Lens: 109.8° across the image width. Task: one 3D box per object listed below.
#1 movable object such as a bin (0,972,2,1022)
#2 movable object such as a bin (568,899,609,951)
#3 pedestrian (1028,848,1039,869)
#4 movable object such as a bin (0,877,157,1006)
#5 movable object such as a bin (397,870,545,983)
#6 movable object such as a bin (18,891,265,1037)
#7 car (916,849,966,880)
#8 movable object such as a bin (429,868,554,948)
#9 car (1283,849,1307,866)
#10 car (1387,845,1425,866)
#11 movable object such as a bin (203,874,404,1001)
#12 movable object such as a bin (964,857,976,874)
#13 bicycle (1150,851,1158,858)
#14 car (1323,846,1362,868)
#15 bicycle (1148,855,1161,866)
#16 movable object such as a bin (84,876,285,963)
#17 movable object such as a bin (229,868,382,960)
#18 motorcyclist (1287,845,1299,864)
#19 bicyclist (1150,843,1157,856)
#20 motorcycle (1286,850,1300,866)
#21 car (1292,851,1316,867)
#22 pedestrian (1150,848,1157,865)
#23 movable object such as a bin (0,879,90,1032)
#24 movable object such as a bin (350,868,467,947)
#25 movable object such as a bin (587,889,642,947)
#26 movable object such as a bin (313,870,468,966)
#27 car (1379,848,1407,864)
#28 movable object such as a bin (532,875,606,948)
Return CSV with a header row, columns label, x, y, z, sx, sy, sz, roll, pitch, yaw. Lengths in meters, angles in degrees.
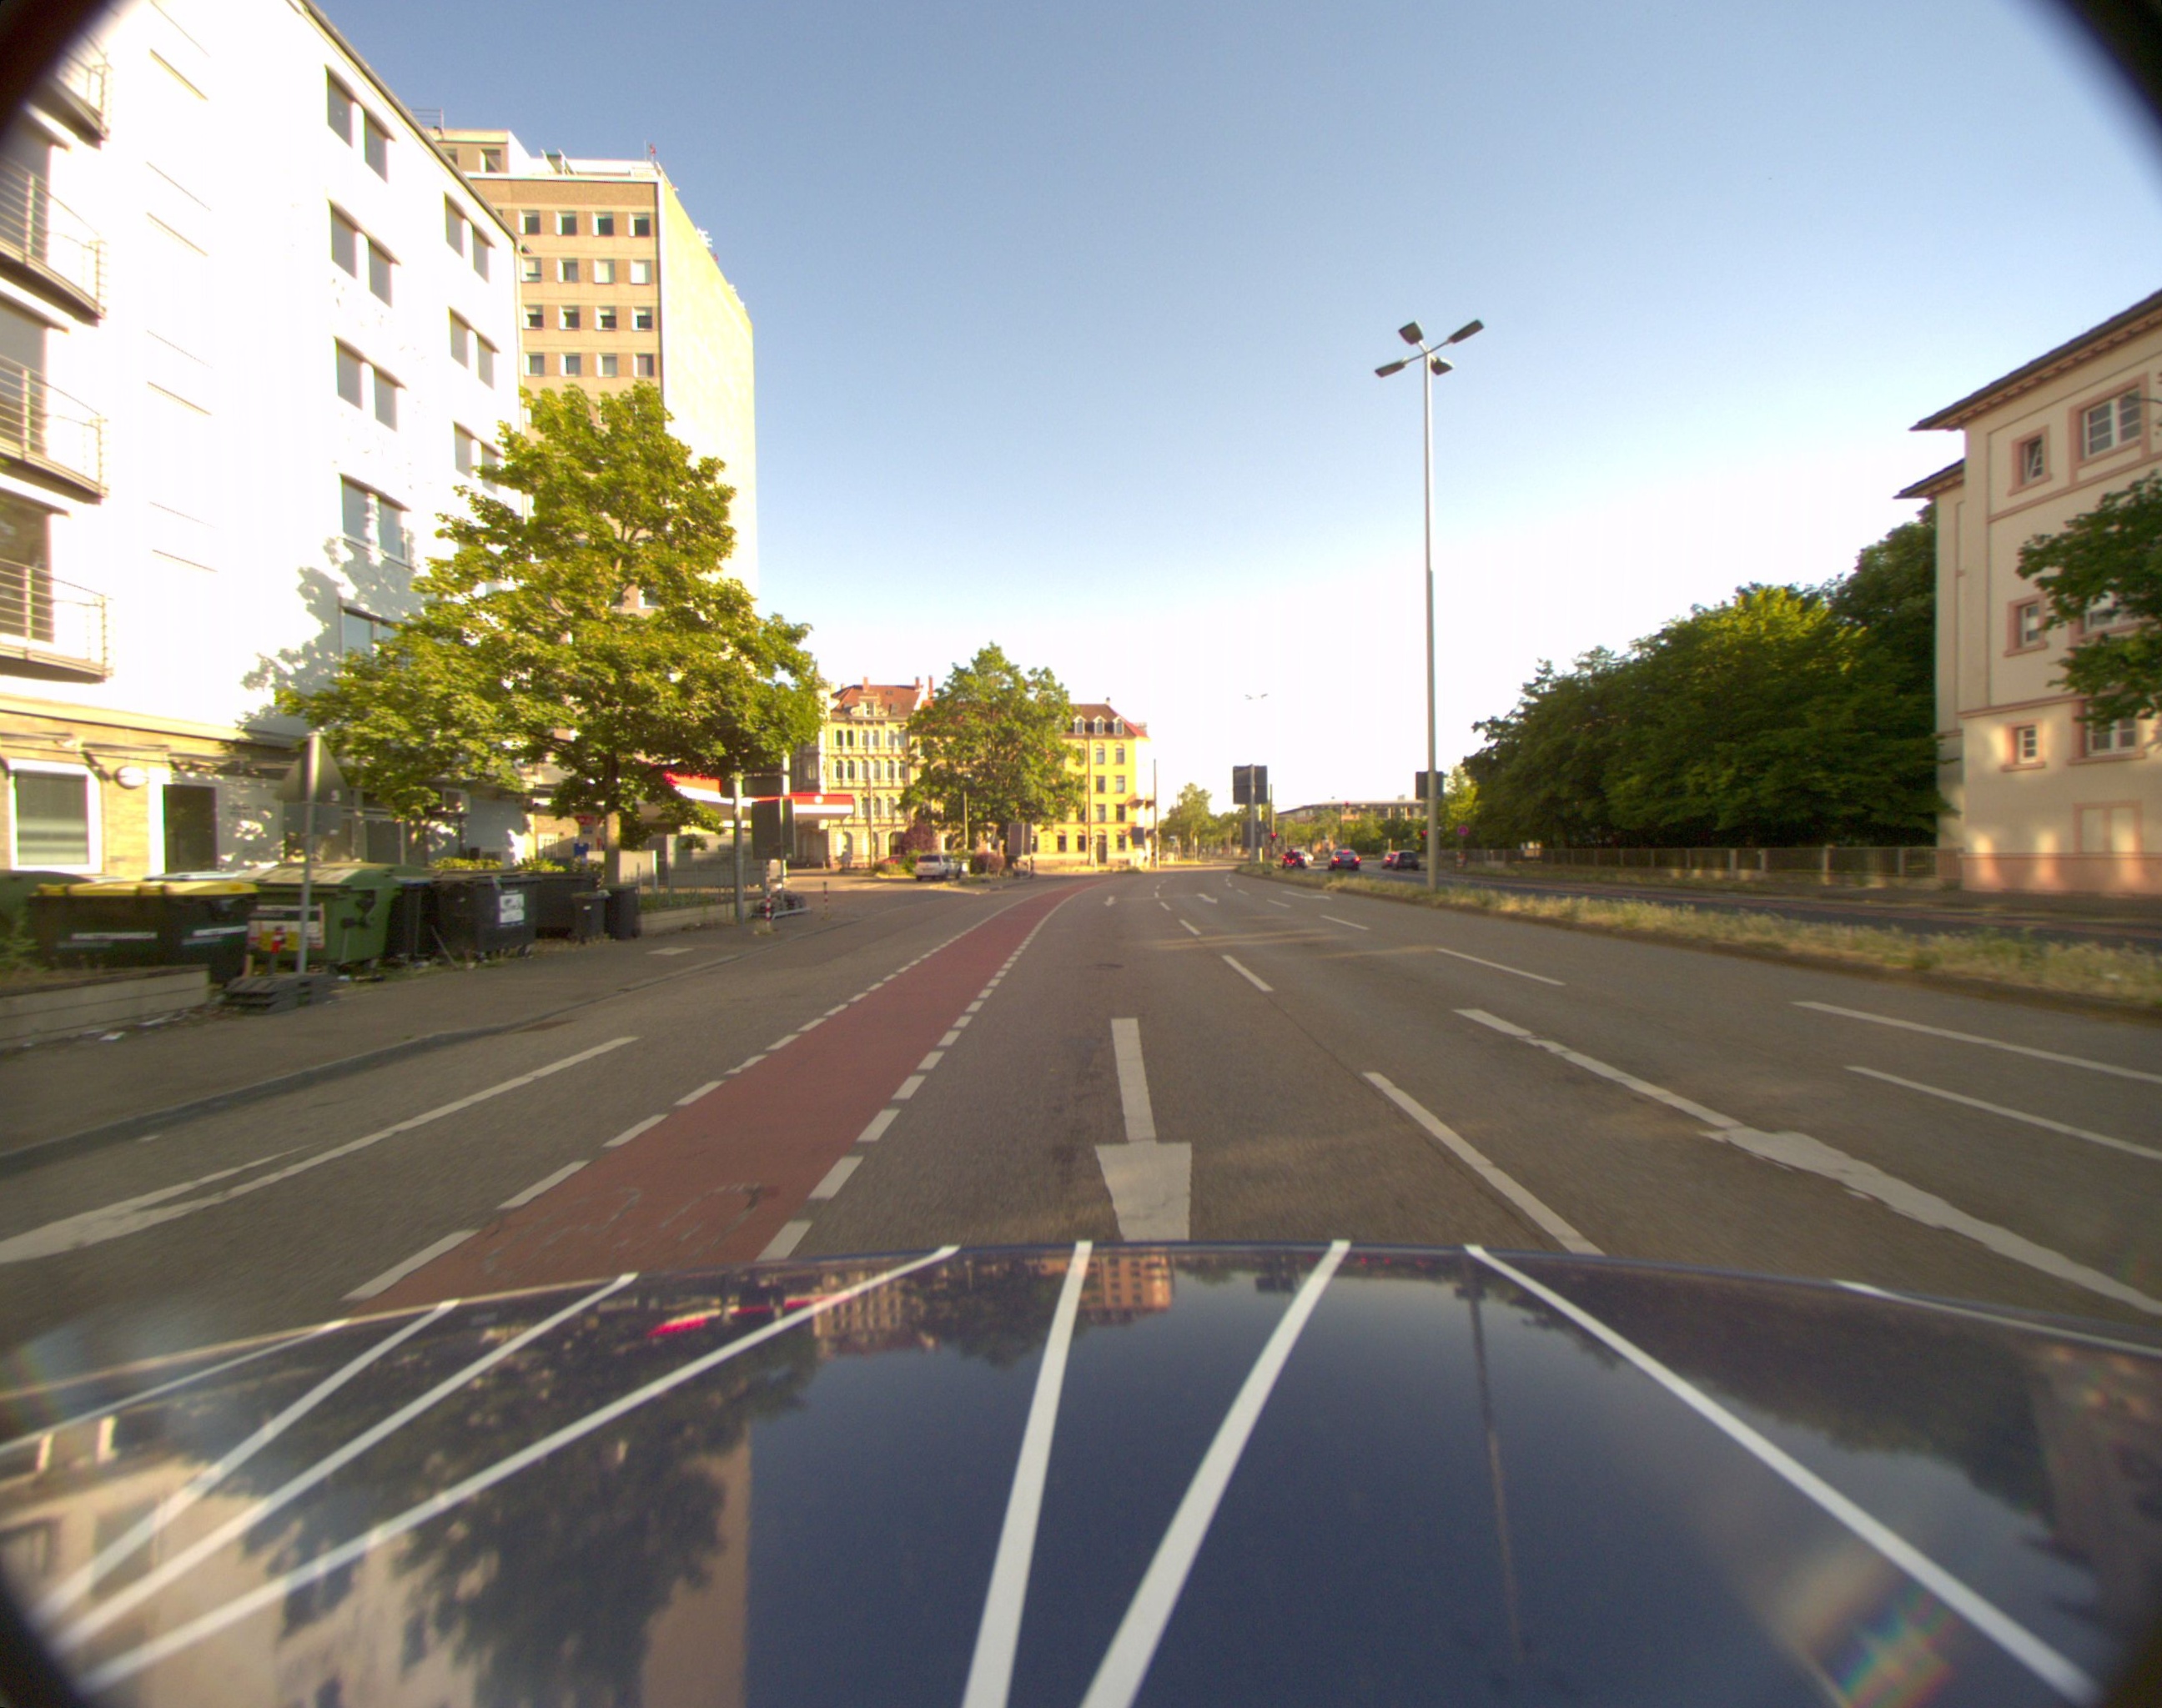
label,x,y,z,sx,sy,sz,roll,pitch,yaw
movable object such as a bin,-12.358,1.104,7.809,1.129,1.476,0.956,-1,1,1
movable object such as a bin,-8.978,1.282,13.854,0.393,0.901,0.490,-1,1,4
pedestrian,-4.108,0.382,65.792,0.827,1.778,0.911,-1,1,1
movable object such as a bin,-12.806,1.055,9.450,1.329,1.476,1.016,-1,1,0
movable object such as a bin,-9.113,1.049,11.426,1.095,1.500,1.253,-1,3,1
movable object such as a bin,-9.832,1.104,8.038,1.218,1.336,1.054,-1,1,-14
car,-7.786,0.557,42.562,1.622,1.585,3.896,-1,1,8
movable object such as a bin,-10.956,0.982,14.167,1.612,1.402,0.865,-1,1,0
car,17.060,0.275,60.475,1.721,1.289,4.382,-1,0,18
car,24.021,0.097,56.293,1.856,1.455,4.004,-1,0,13
movable object such as a bin,-10.053,1.033,9.920,1.330,1.476,1.209,-1,1,-9
movable object such as a bin,-6.840,0.725,47.001,0.573,1.023,0.674,-1,1,5
bicycle,10.416,0.036,108.898,1.071,1.018,2.976,-1,0,6
car,18.882,0.165,54.976,1.997,1.487,5.296,-1,0,12
bicycle,7.077,0.602,73.137,0.398,1.023,1.675,0,1,37
movable object such as a bin,-12.967,0.920,11.061,1.422,1.122,1.242,-1,1,2
movable object such as a bin,-12.676,0.948,12.475,1.198,1.413,1.279,1,0,4
motorcyclist,15.640,0.010,56.072,0.852,1.390,1.063,-1,1,18
bicyclist,10.370,-0.660,108.694,1.071,1.831,1.303,-1,1,5
motorcycle,15.670,0.299,56.112,0.859,1.101,2.473,-1,1,18
car,19.329,0.399,65.747,1.720,1.289,4.254,-1,0,19
pedestrian,6.990,0.285,73.210,0.488,1.622,0.526,0,1,36
movable object such as a bin,-11.187,1.016,7.654,1.106,1.476,0.956,-1,1,0
movable object such as a bin,-12.559,0.980,14.228,1.409,1.402,0.865,0,1,0
movable object such as a bin,-8.844,1.199,14.429,0.620,1.040,0.616,-1,1,4
movable object such as a bin,-11.041,0.989,12.207,1.311,1.425,1.280,1,0,6
car,25.661,0.134,62.620,1.721,1.289,3.899,-1,0,16
movable object such as a bin,-9.632,1.066,14.326,0.779,1.301,0.865,-1,1,0
